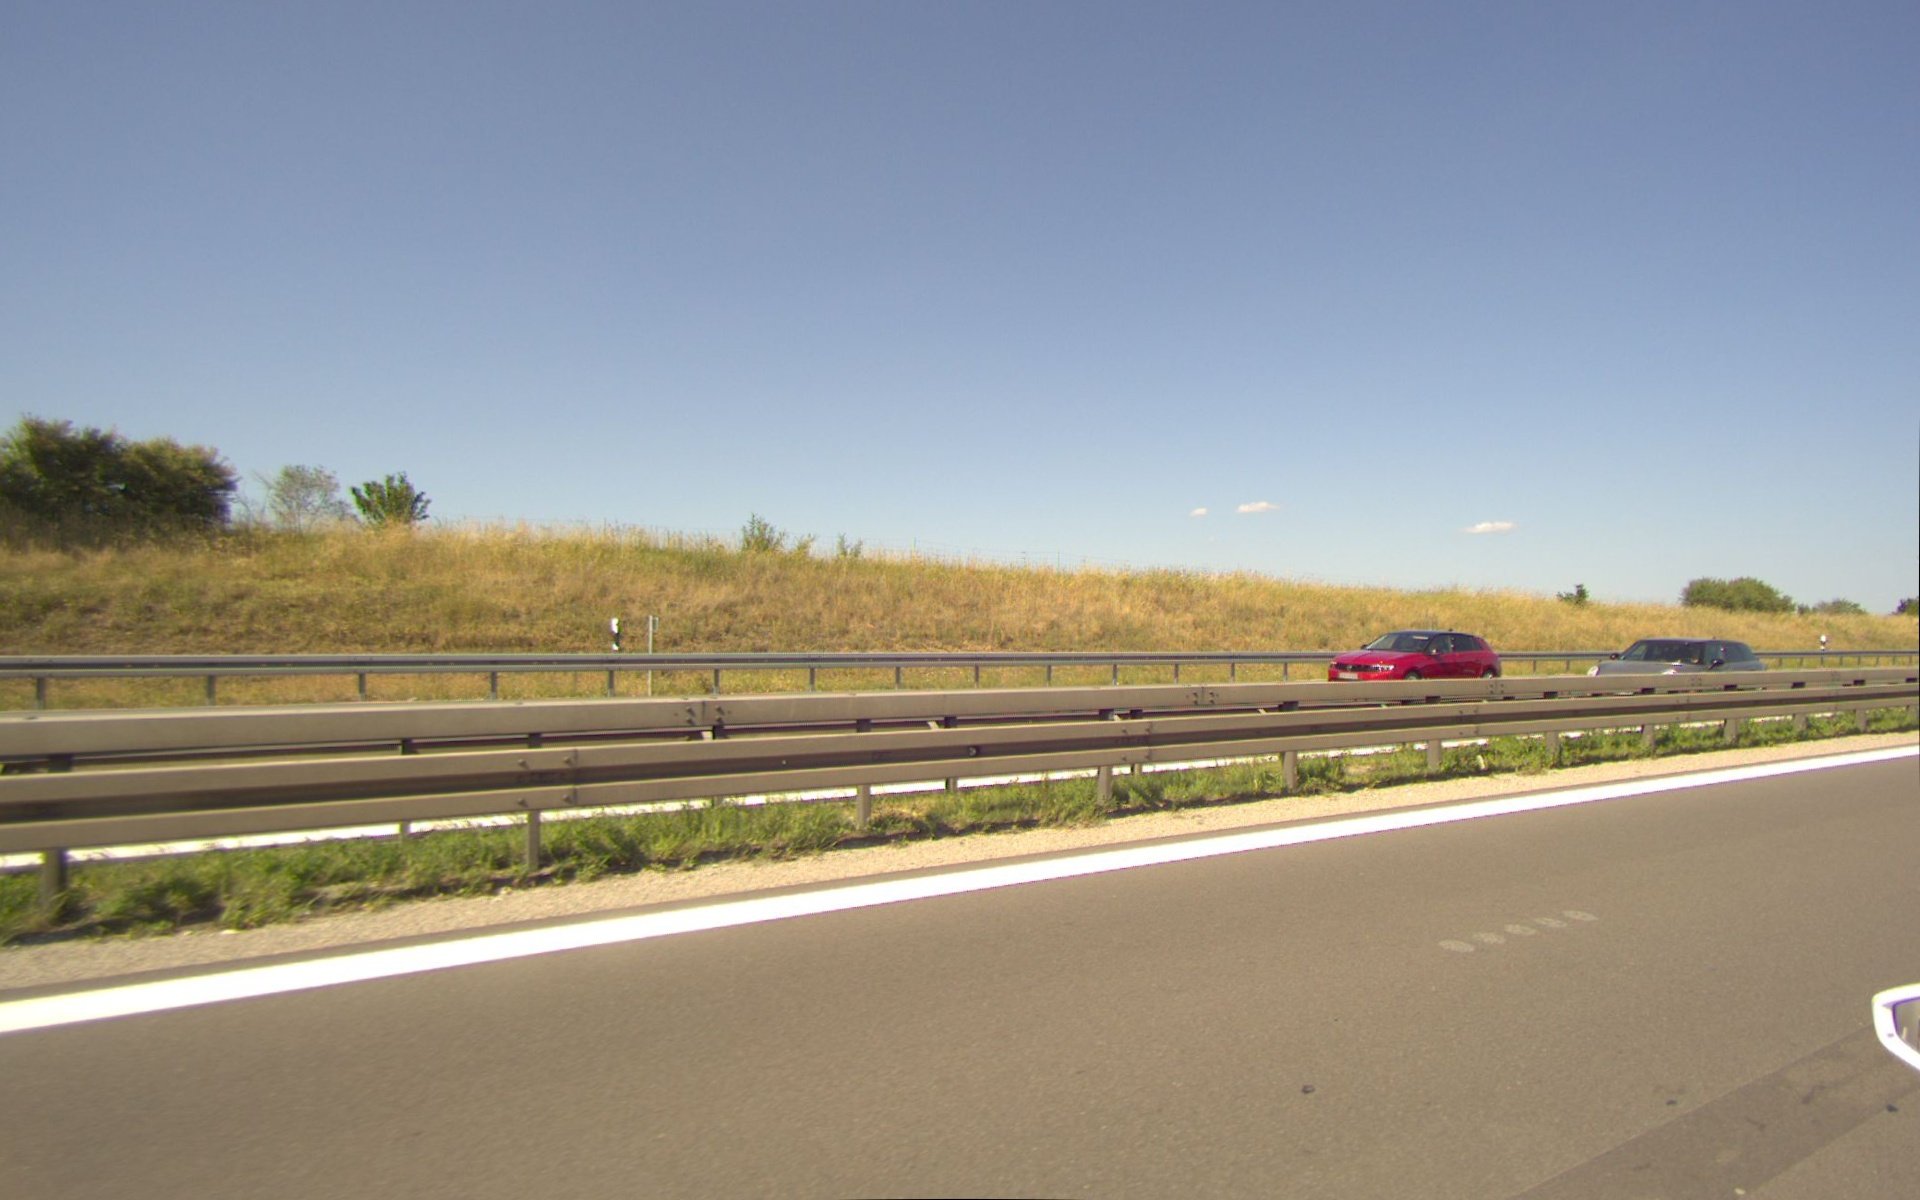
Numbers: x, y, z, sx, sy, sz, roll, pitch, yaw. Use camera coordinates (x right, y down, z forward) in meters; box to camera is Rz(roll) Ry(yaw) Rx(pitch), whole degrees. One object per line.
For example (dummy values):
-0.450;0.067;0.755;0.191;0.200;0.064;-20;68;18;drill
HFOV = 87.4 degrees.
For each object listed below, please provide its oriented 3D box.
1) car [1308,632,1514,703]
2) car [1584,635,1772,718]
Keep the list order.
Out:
9.930;1.426;22.040;4.500;1.377;1.896;2;-1;-30;car
14.156;1.450;19.758;3.881;1.450;1.577;2;-1;-30;car
